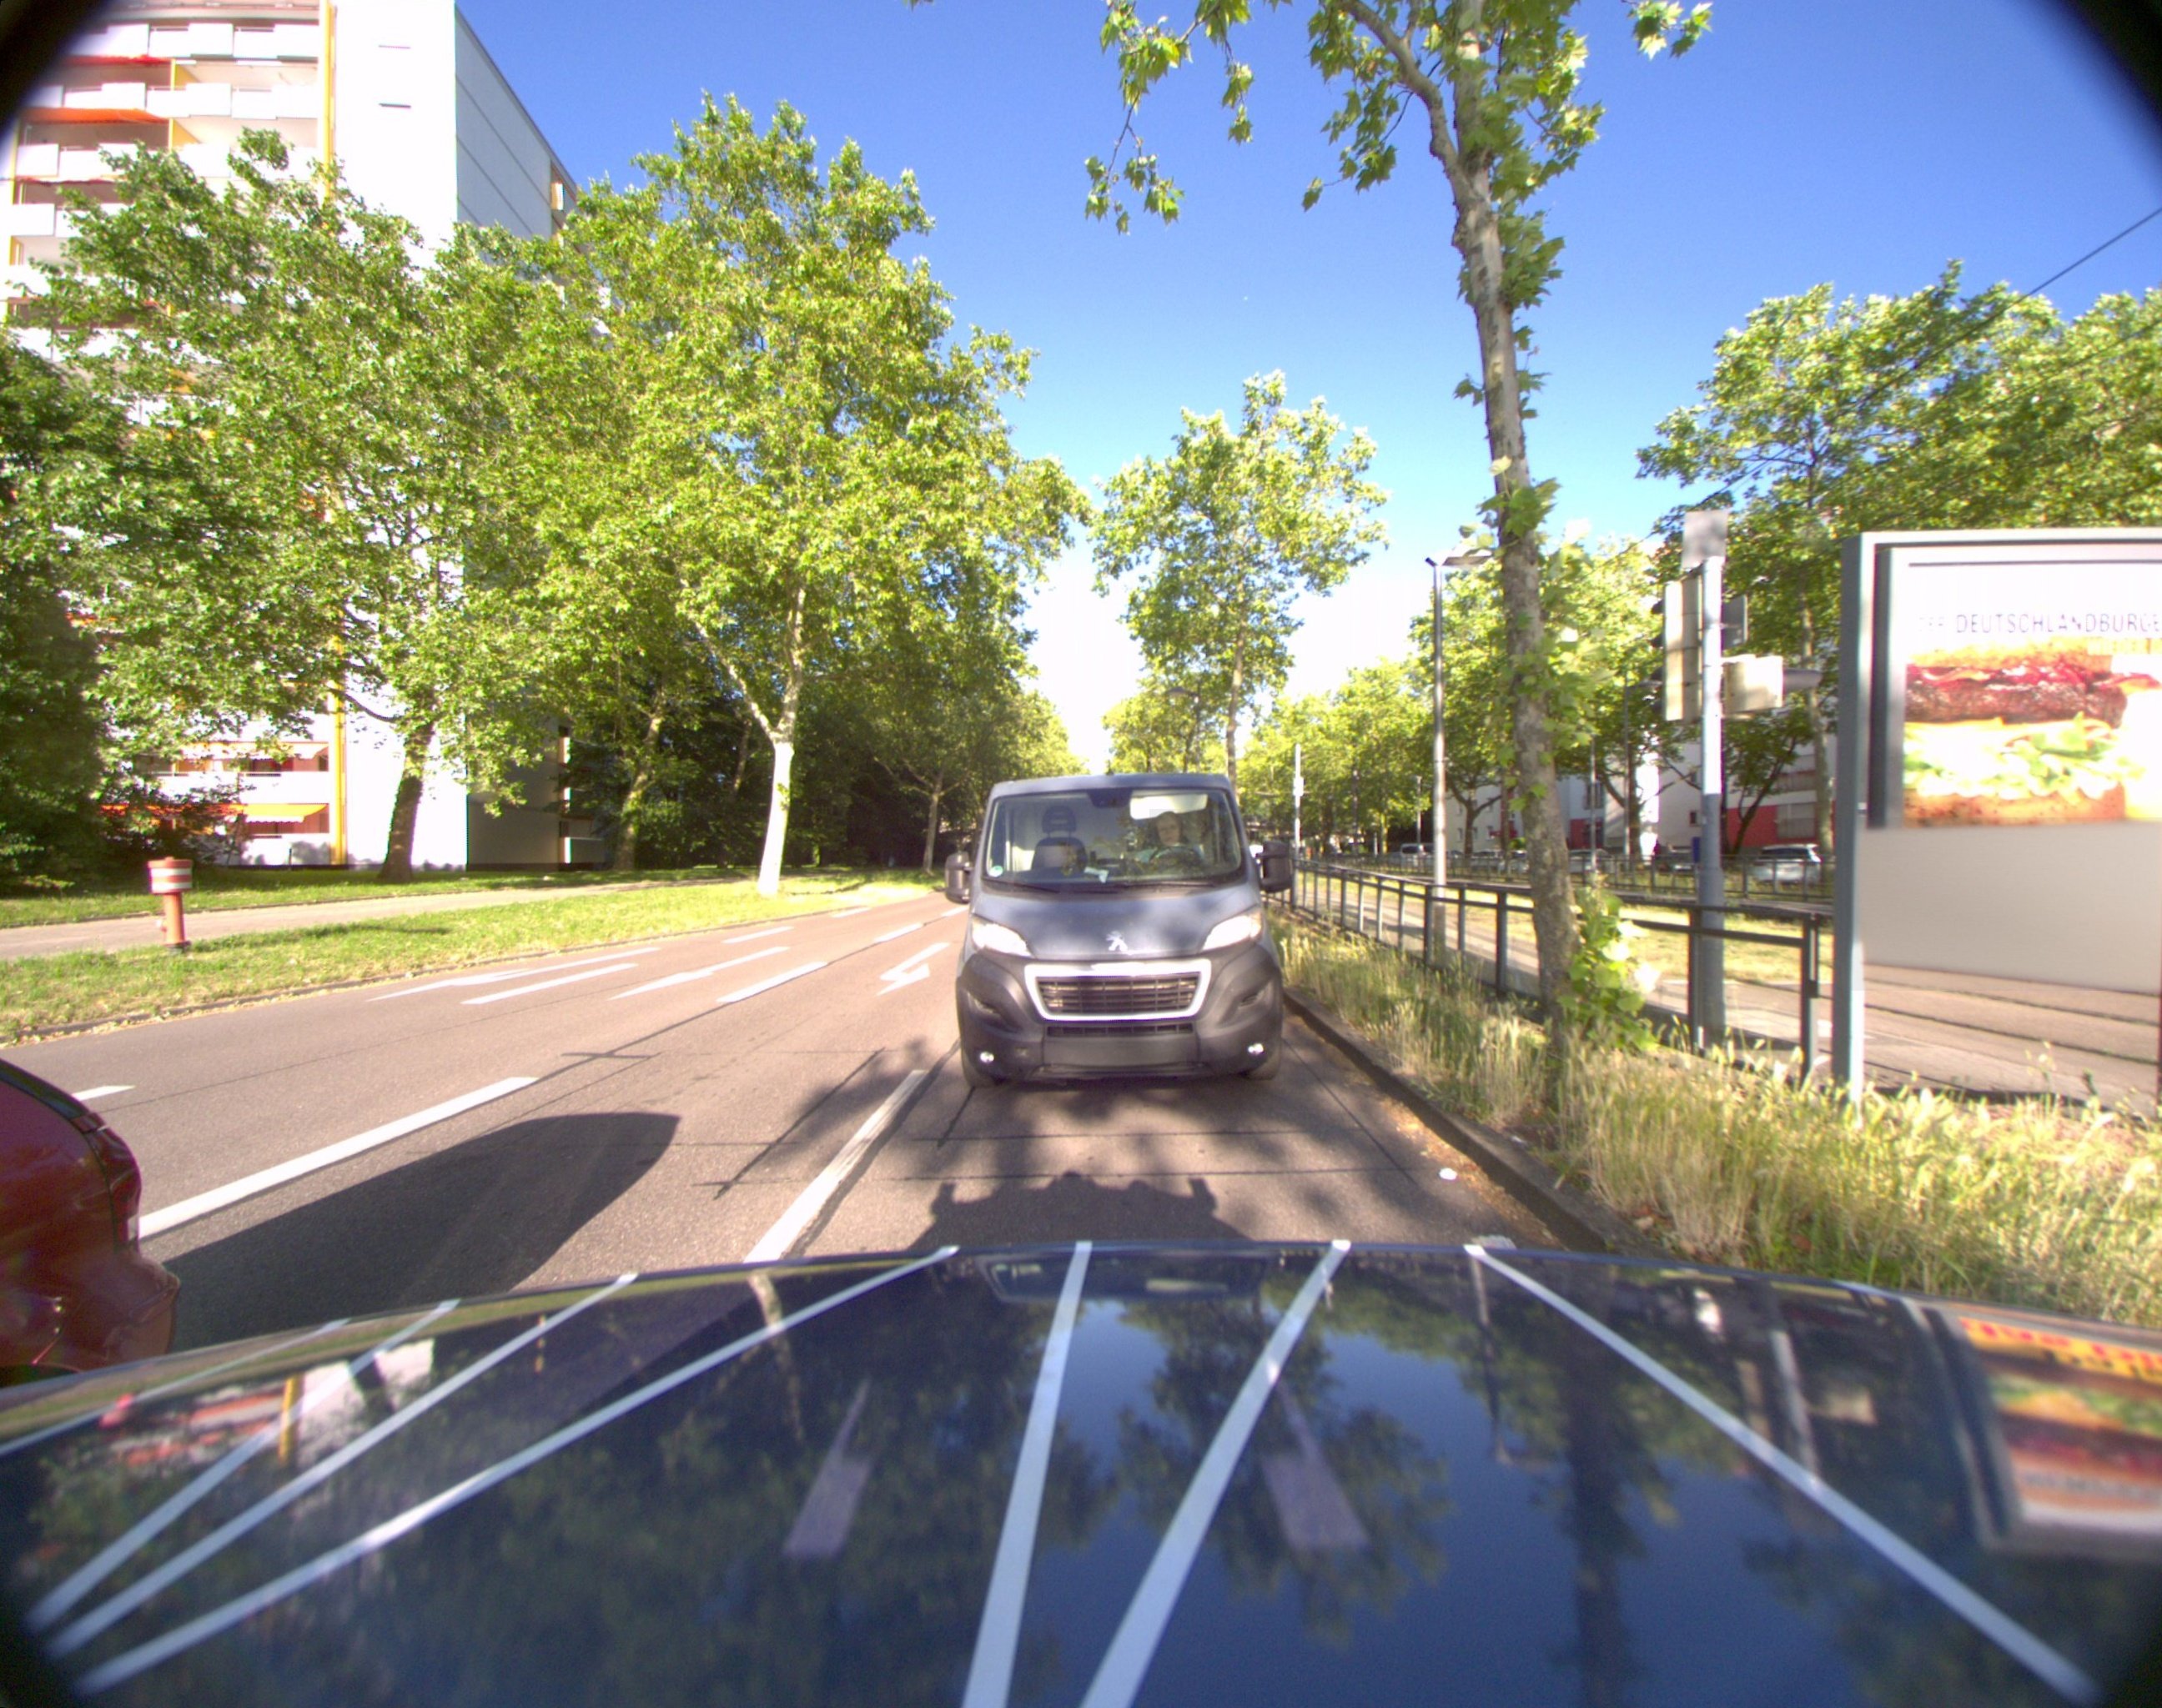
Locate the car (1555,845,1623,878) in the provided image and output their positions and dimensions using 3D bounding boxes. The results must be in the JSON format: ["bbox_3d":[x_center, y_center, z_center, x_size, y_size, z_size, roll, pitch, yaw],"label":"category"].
[{"bbox_3d":[25.404,0.361,37.973,4.057,1.490,1.791,-2,0,-41],"label":"car"}]

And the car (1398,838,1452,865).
[{"bbox_3d":[25.878,-0.232,57.090,4.441,1.908,2.016,-2,0,-41],"label":"car"}]

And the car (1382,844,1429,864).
[{"bbox_3d":[25.818,-0.033,60.441,4.057,1.490,1.791,-2,0,-41],"label":"car"}]

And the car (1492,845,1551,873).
[{"bbox_3d":[26.087,0.285,44.983,4.057,1.490,1.791,-2,0,-41],"label":"car"}]

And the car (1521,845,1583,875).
[{"bbox_3d":[25.938,0.307,41.787,4.057,1.490,1.791,-2,0,-41],"label":"car"}]

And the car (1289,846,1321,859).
[{"bbox_3d":[26.583,-0.165,90.143,4.057,1.490,1.791,-2,0,-41],"label":"car"}]

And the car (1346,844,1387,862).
[{"bbox_3d":[26.086,-0.102,69.378,4.057,1.490,1.791,-2,0,-41],"label":"car"}]

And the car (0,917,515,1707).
[{"bbox_3d":[-2.989,1.009,0.311,1.771,1.549,4.727,-1,0,3],"label":"car"}]

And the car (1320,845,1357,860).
[{"bbox_3d":[26.940,-0.166,79.414,4.057,1.490,1.791,-2,0,-41],"label":"car"}]

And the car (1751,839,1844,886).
[{"bbox_3d":[25.253,0.278,26.735,4.057,1.490,1.791,-2,0,-38],"label":"car"}]

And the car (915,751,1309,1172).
[{"bbox_3d":[0.202,0.550,6.832,2.040,2.191,5.661,-1,1,1],"label":"car"}]

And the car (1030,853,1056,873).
[{"bbox_3d":[-3.064,0.705,61.058,1.914,1.549,4.725,-1,0,-3],"label":"car"}]

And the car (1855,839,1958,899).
[{"bbox_3d":[25.278,0.410,23.231,4.057,1.654,1.791,-2,0,-38],"label":"car"}]

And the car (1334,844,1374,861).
[{"bbox_3d":[26.168,-0.115,72.755,4.057,1.490,1.791,-2,0,-41],"label":"car"}]

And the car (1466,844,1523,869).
[{"bbox_3d":[26.003,0.140,47.734,4.057,1.490,1.791,-2,0,-41],"label":"car"}]

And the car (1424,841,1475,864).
[{"bbox_3d":[26.300,-0.133,54.208,4.057,1.490,1.791,-2,0,-41],"label":"car"}]
